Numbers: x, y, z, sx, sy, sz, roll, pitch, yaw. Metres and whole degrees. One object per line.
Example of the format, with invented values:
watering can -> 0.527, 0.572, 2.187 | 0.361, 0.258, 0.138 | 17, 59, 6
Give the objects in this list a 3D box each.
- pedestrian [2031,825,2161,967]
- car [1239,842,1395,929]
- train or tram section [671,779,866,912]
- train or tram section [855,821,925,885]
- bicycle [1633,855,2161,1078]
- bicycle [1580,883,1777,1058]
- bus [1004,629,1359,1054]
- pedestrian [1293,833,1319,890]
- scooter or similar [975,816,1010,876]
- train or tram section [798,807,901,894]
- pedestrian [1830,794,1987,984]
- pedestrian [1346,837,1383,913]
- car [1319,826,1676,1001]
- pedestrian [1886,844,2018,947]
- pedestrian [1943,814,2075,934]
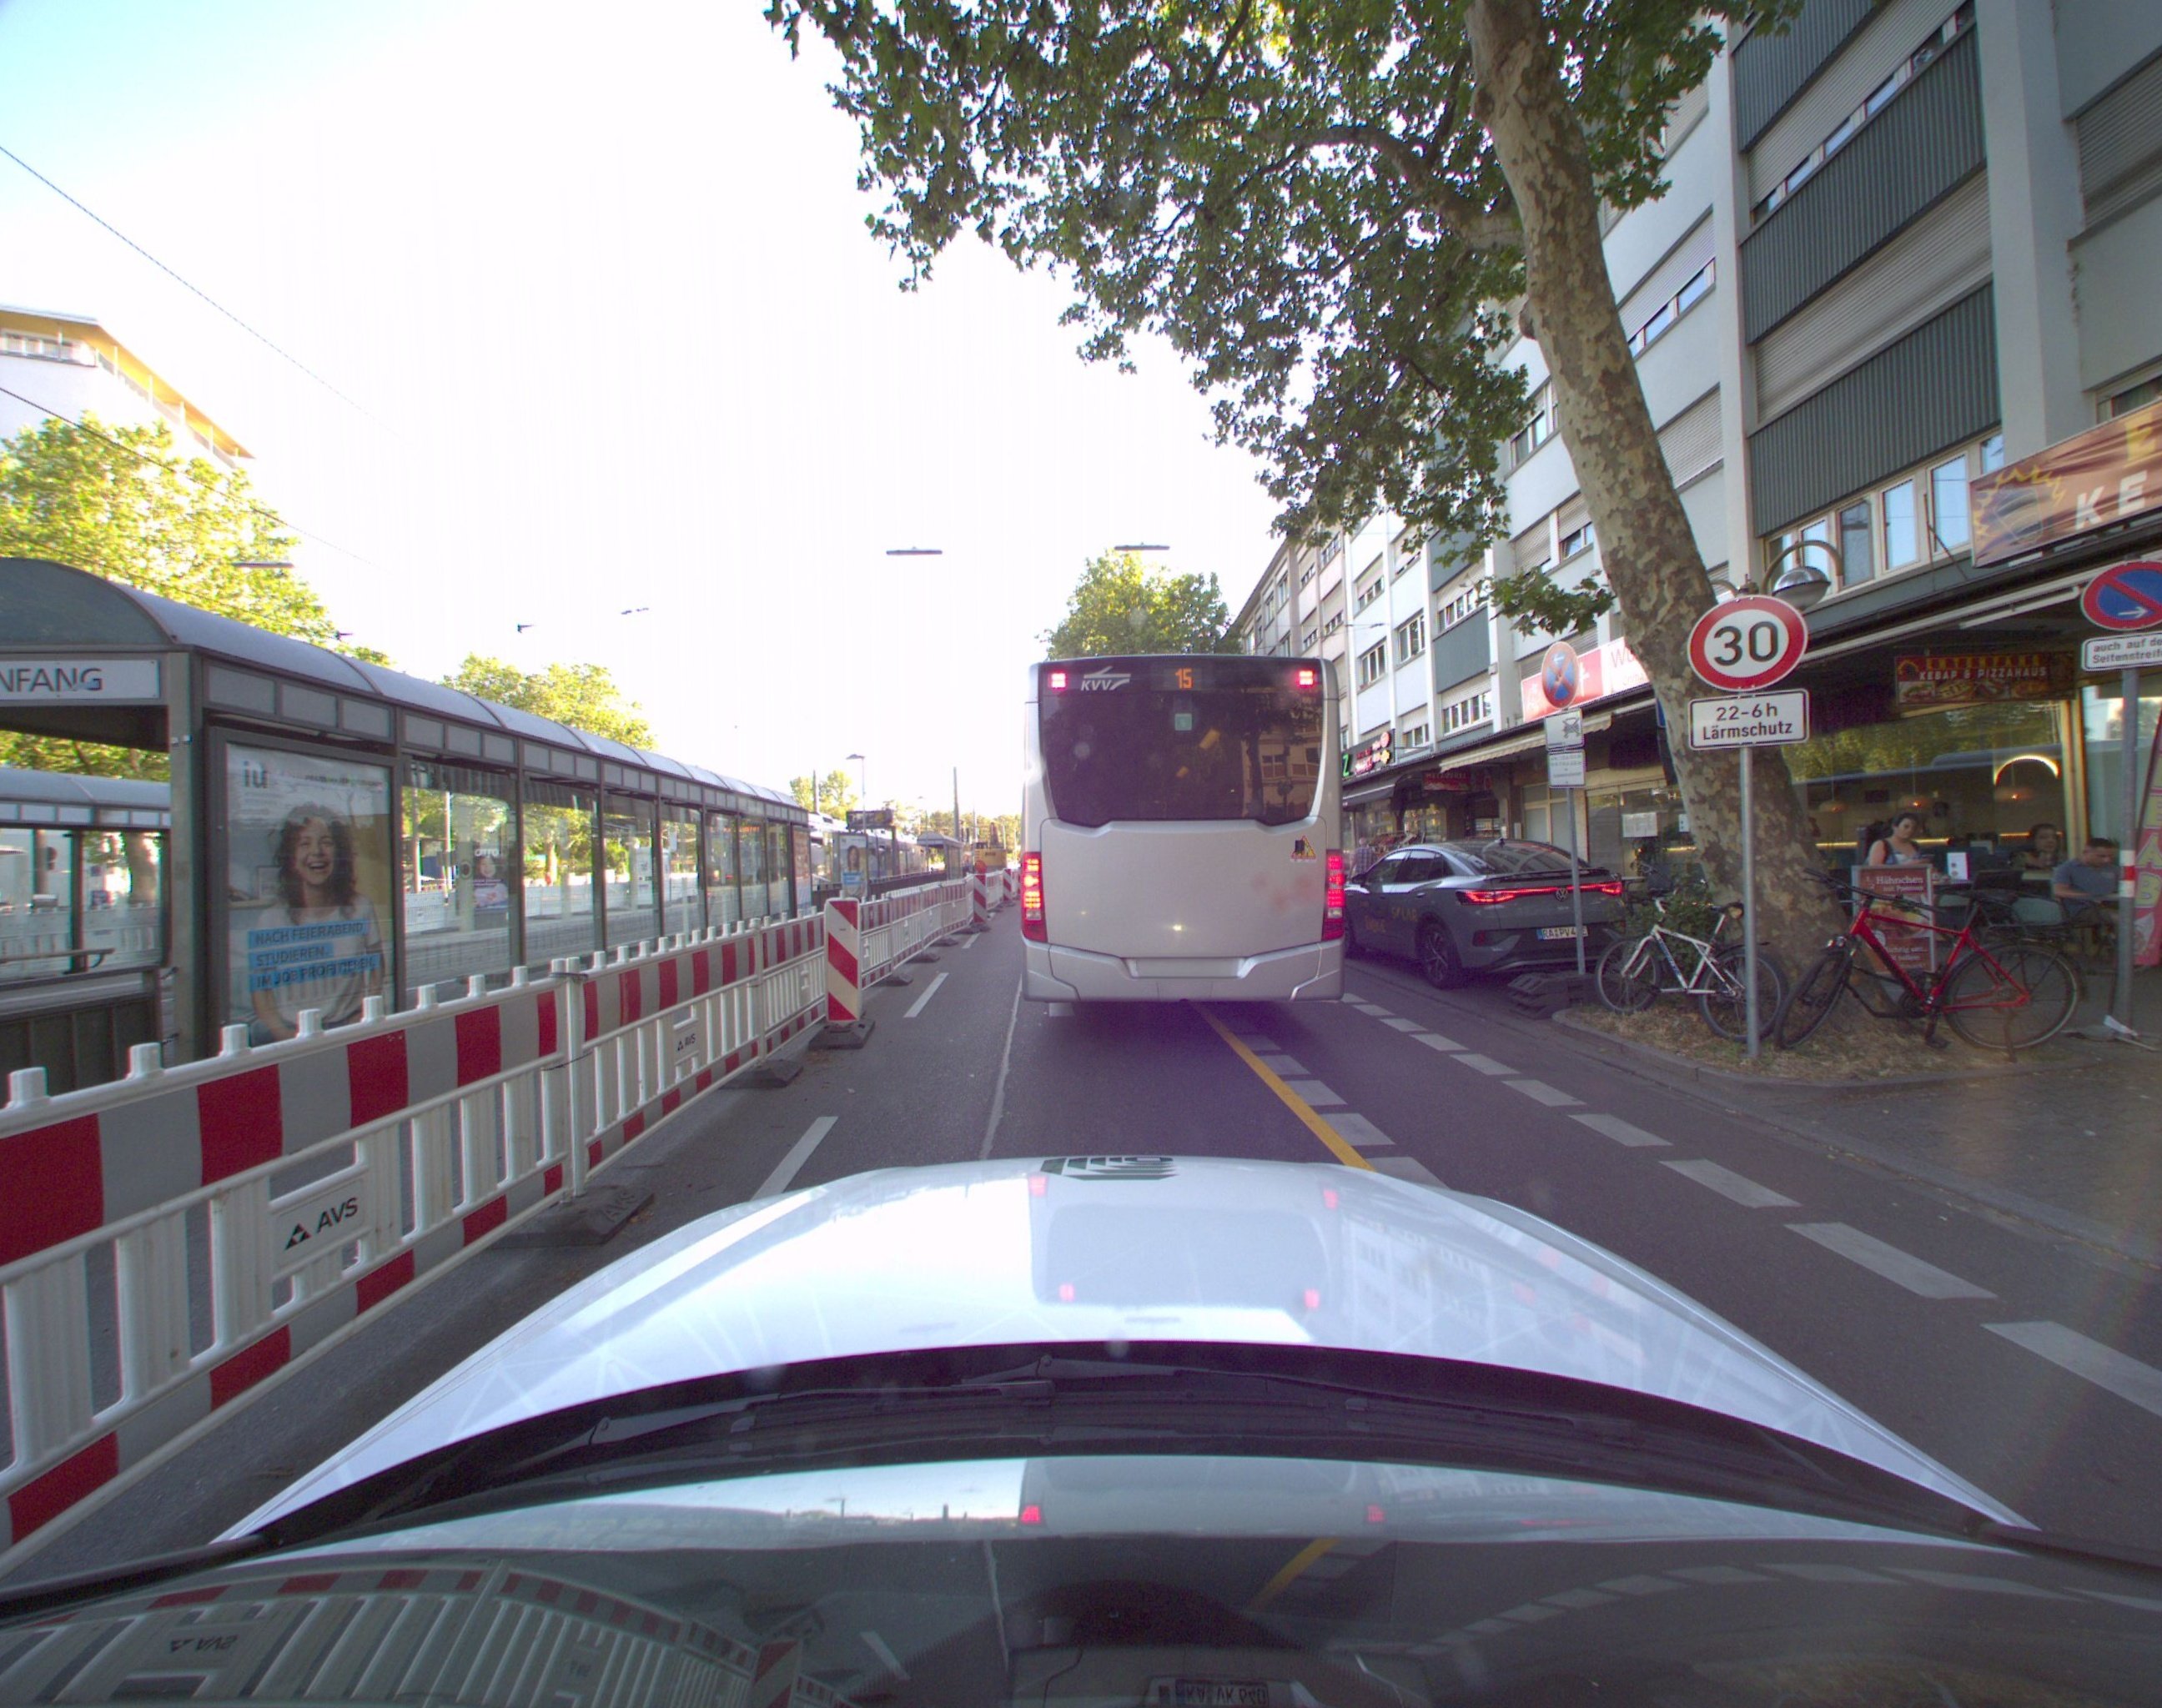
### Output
pedestrian -> 9.566, 0.372, 7.594 | 0.555, 1.245, 0.692 | -4, 0, 8
car -> 5.099, 0.613, 18.321 | 1.989, 1.582, 4.364 | -4, 0, -3
train or tram section -> -9.861, -0.182, 27.534 | 2.681, 3.534, 11.756 | 0, -1, -3
train or tram section -> -11.644, -0.020, 50.719 | 2.683, 3.533, 11.558 | 0, -1, -6
bicycle -> 5.058, 0.719, 5.216 | 2.370, 1.155, 0.557 | -7, -2, 14
bicycle -> 4.573, 0.833, 6.357 | 0.550, 1.155, 1.446 | -2, -1, 6
bus -> 0.861, -0.068, 10.003 | 2.601, 3.126, 7.996 | 0, 0, 2
pedestrian -> 8.185, 0.259, 29.634 | 0.683, 2.014, 0.786 | -2, -1, 1
scooter or similar -> -7.035, -0.594, 65.139 | 2.465, 4.471, 5.961 | -2, 0, -5
train or tram section -> -10.761, -0.109, 39.131 | 2.682, 3.558, 11.559 | 0, -1, -5
pedestrian -> 7.689, 0.305, 7.605 | 0.580, 1.646, 0.796 | -3, 0, 0
pedestrian -> 6.418, 0.465, 18.464 | 0.658, 1.666, 0.603 | -4, -1, 18
car -> 4.739, 0.576, 10.175 | 1.989, 1.582, 4.364 | -4, 0, -3
pedestrian -> 9.856, 0.450, 9.230 | 0.643, 1.081, 0.945 | -2, -1, -39
pedestrian -> 11.012, 0.227, 9.669 | 0.836, 1.333, 0.963 | -2, -1, -39
